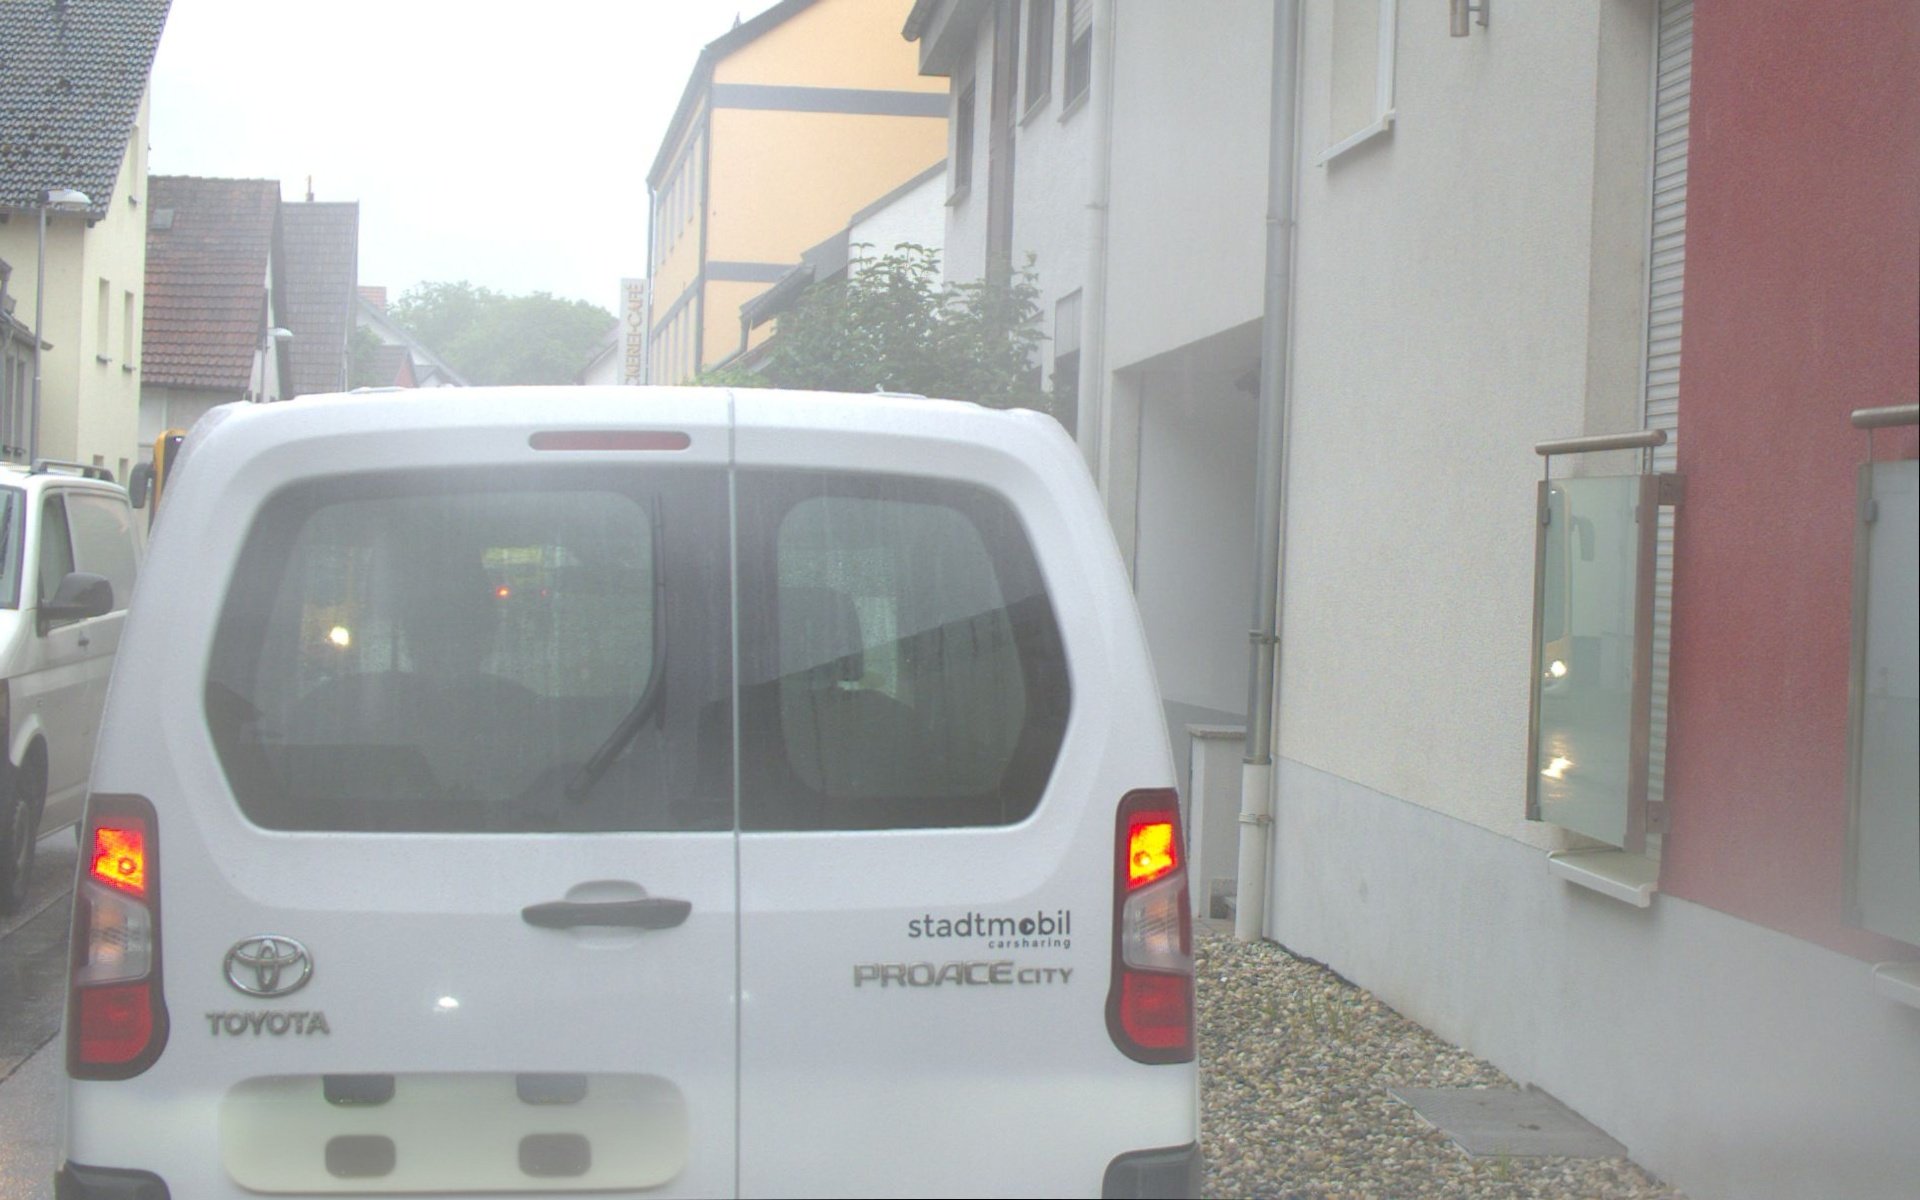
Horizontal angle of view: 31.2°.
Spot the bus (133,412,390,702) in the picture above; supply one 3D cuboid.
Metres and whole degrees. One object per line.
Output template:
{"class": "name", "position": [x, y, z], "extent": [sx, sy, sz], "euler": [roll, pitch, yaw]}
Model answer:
{"class": "bus", "position": [-8.957, -0.527, 44.869], "extent": [2.792, 3.318, 8.180], "euler": [2, 0, -9]}

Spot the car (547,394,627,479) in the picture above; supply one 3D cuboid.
{"class": "car", "position": [-10.072, -4.402, 93.021], "extent": [1.993, 2.007, 4.001], "euler": [3, 0, -6]}

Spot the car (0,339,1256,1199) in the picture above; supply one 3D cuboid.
{"class": "car", "position": [-0.732, 0.546, 6.860], "extent": [1.794, 1.812, 4.102], "euler": [0, 0, -7]}

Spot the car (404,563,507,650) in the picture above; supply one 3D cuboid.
{"class": "car", "position": [-8.686, 0.104, 59.376], "extent": [1.561, 1.367, 3.585], "euler": [3, 0, -6]}

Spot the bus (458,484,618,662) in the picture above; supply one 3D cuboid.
{"class": "bus", "position": [-8.482, -0.523, 69.077], "extent": [2.793, 3.169, 8.179], "euler": [4, 0, -7]}

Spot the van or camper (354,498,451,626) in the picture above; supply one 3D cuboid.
{"class": "van or camper", "position": [-13.575, -0.898, 83.979], "extent": [1.835, 2.915, 5.364], "euler": [3, 0, -6]}

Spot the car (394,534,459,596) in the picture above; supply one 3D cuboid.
{"class": "car", "position": [-15.650, -1.012, 100.961], "extent": [1.578, 1.718, 3.551], "euler": [3, 0, -6]}

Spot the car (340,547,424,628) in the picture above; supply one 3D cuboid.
{"class": "car", "position": [-13.202, -0.286, 78.640], "extent": [1.578, 1.718, 3.551], "euler": [3, 0, -6]}

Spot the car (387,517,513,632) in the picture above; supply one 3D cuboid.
{"class": "car", "position": [-7.132, -0.347, 48.311], "extent": [1.561, 1.475, 3.585], "euler": [3, 0, -7]}

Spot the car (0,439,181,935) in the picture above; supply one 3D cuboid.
{"class": "car", "position": [-4.906, 0.295, 15.782], "extent": [1.892, 1.960, 4.724], "euler": [3, 0, -5]}

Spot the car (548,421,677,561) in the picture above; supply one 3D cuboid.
{"class": "car", "position": [-5.525, -1.680, 54.297], "extent": [1.826, 2.007, 3.695], "euler": [3, 0, -7]}
